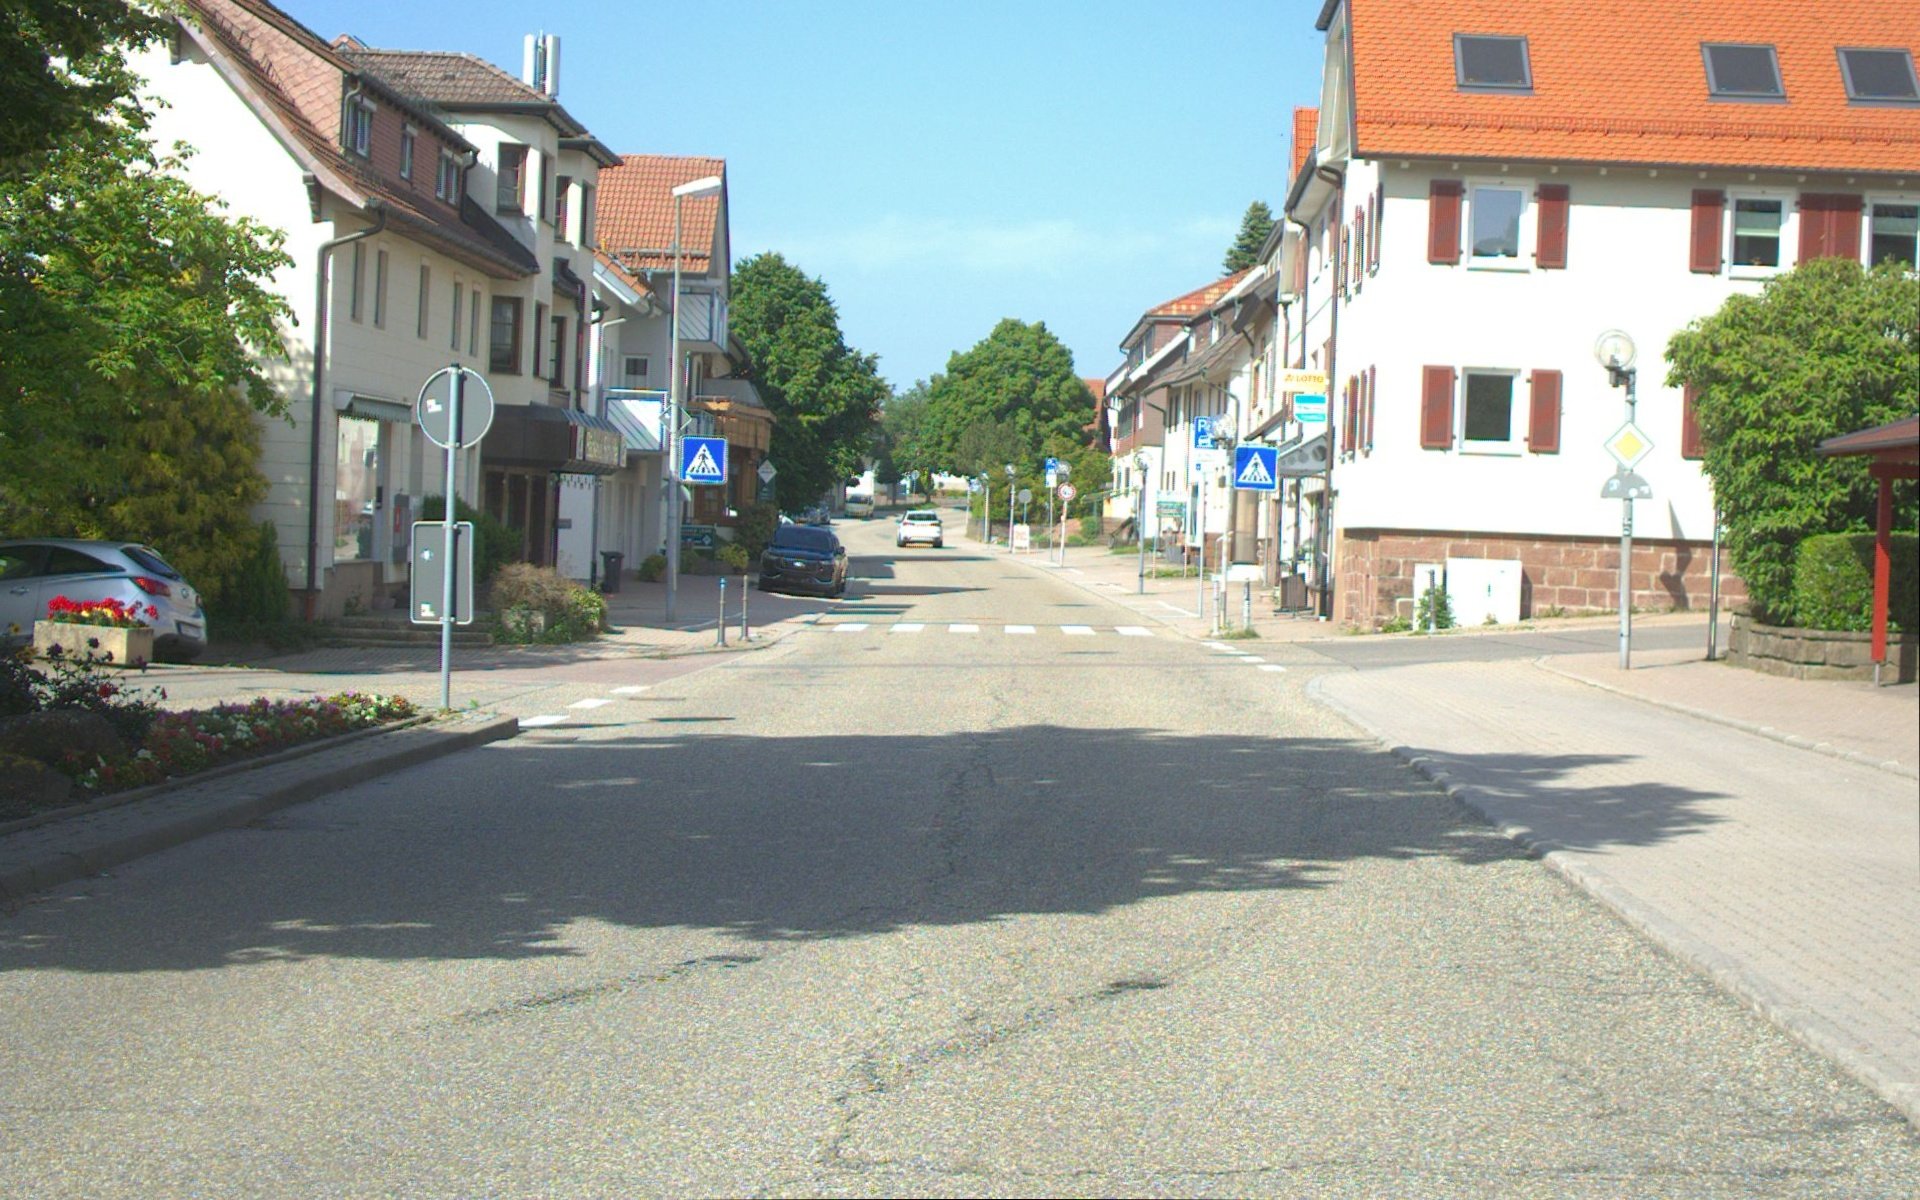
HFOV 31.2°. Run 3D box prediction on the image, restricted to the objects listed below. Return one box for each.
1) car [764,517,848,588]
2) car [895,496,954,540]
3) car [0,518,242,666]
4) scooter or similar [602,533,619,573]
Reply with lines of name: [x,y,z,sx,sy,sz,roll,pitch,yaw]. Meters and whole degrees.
car: [-3.703,-1.158,83.081,1.672,1.528,3.535,5,2,1]
car: [-1.685,-3.825,161.230,2.495,2.007,4.305,-1,1,-3]
car: [-9.980,-0.057,37.518,3.761,1.449,1.816,-1,-4,14]
scooter or similar: [-7.876,-1.067,77.517,0.351,0.887,0.395,-1,1,-5]
